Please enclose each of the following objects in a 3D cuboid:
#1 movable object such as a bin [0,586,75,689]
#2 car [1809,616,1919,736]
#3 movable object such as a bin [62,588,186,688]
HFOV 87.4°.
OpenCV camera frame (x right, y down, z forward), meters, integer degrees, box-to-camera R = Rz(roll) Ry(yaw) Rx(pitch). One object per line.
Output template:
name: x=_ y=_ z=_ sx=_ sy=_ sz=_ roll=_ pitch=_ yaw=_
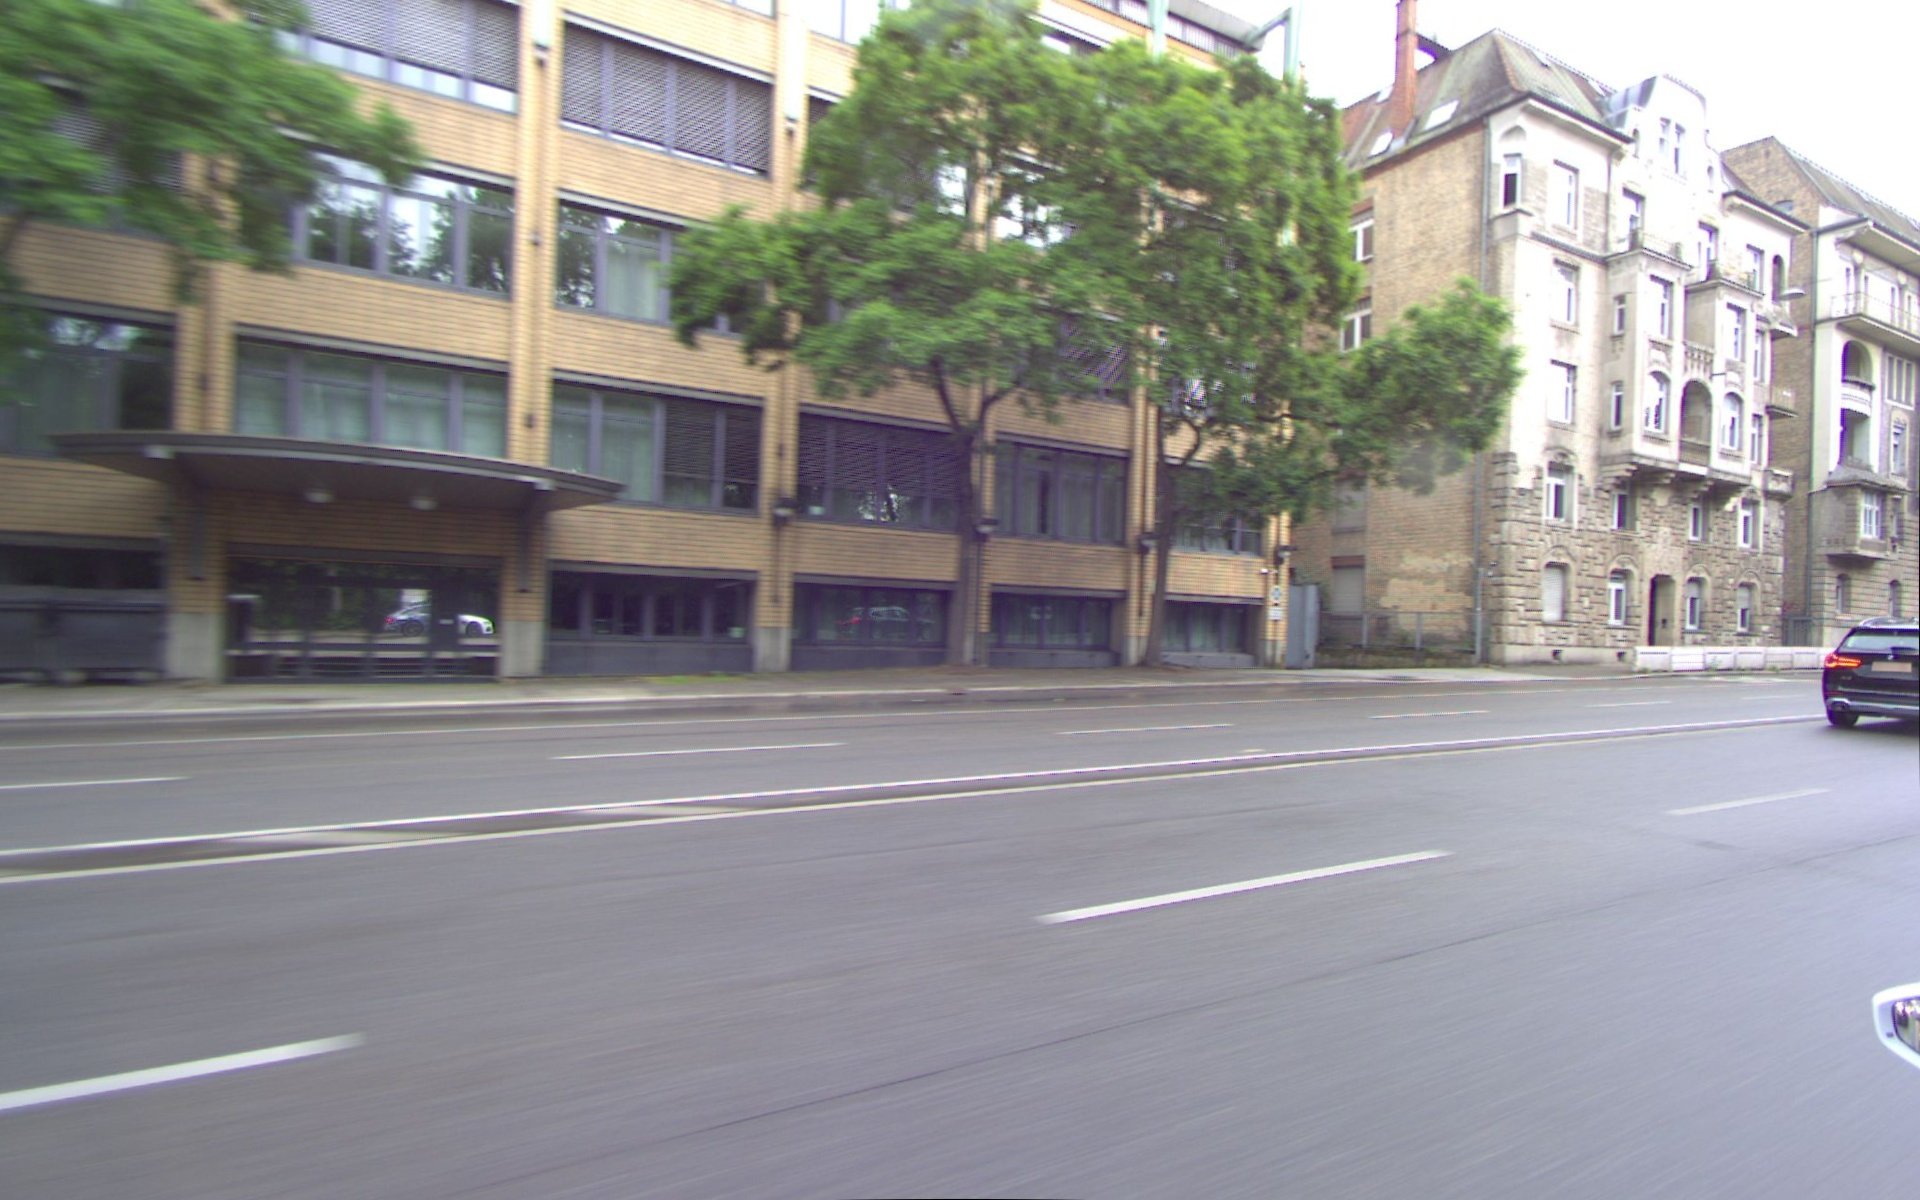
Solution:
movable object such as a bin: x=-13.994 y=0.530 z=14.792 sx=1.301 sy=1.455 sz=0.966 roll=1 pitch=1 yaw=-35
car: x=14.827 y=1.106 z=15.142 sx=4.361 sy=1.607 sz=1.749 roll=2 pitch=0 yaw=-31
movable object such as a bin: x=-12.886 y=0.565 z=15.547 sx=1.358 sy=1.455 sz=1.061 roll=1 pitch=1 yaw=-35
